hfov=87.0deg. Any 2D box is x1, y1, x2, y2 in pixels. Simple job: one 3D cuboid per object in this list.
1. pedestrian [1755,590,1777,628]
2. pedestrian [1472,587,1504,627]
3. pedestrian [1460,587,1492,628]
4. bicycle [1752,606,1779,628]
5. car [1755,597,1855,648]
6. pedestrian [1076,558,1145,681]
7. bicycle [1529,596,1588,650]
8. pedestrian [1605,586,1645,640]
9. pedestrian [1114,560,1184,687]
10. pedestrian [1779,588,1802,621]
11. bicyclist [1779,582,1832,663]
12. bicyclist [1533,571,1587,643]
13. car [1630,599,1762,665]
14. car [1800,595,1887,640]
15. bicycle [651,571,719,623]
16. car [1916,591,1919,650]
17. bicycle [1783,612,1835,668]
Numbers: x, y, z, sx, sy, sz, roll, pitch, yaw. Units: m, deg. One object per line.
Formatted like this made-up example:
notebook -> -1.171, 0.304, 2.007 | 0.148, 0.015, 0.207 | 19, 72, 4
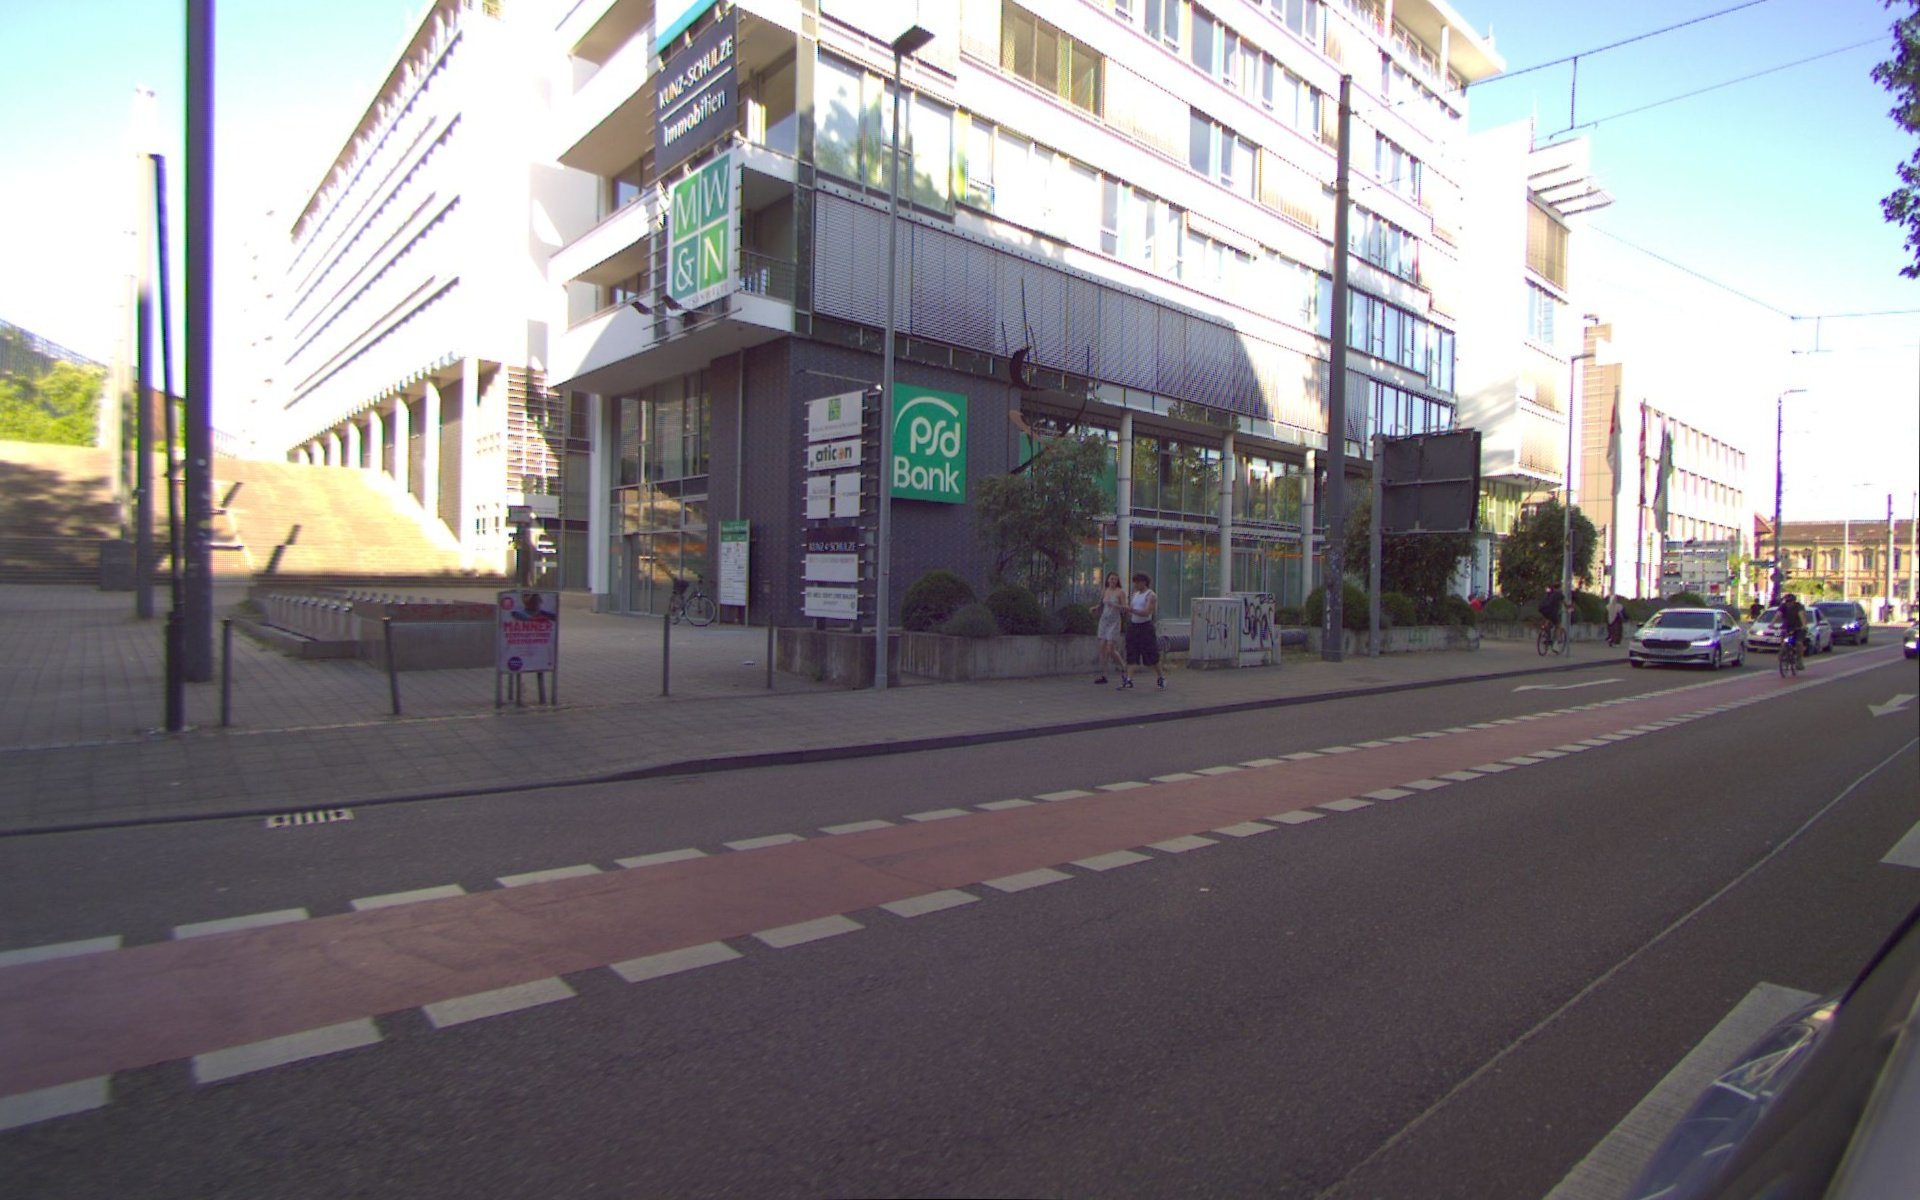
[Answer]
pedestrian -> 34.288, 0.375, 43.051 | 0.579, 1.601, 0.527 | 1, 3, -40
pedestrian -> 17.406, 0.224, 33.375 | 0.535, 1.288, 0.783 | 0, 1, -45
pedestrian -> 16.762, 0.229, 32.881 | 0.750, 1.288, 0.682 | 2, 1, 45
bicycle -> 34.371, 0.729, 43.153 | 1.870, 0.856, 0.499 | 0, 5, -41
car -> 26.907, 0.678, 32.192 | 3.798, 1.482, 1.672 | 0, 1, -38
pedestrian -> 2.326, 0.286, 15.627 | 0.880, 1.831, 0.591 | 0, 2, -41
bicycle -> 15.439, 0.581, 26.069 | 1.894, 1.291, 0.665 | 0, 4, -41
pedestrian -> 20.194, 0.377, 30.718 | 0.895, 1.594, 0.753 | 0, 1, -38
pedestrian -> 2.845, 0.334, 15.216 | 0.876, 1.831, 0.564 | 0, 2, -41
pedestrian -> 41.436, 0.207, 50.479 | 0.652, 1.601, 0.693 | 1, 3, -40
bicyclist -> 18.249, 0.471, 21.841 | 0.702, 1.709, 0.751 | 1, 1, -43
bicyclist -> 15.434, 0.170, 26.032 | 1.188, 1.783, 0.743 | 0, 4, -41
car -> 18.018, 0.722, 24.718 | 3.952, 1.437, 1.784 | 0, 2, -42
car -> 33.899, 0.633, 38.795 | 3.931, 1.616, 1.997 | 0, 1, -41
bicycle -> -6.186, -0.089, 22.725 | 0.688, 1.076, 1.878 | 0, 2, -42
car -> 29.018, 0.596, 29.091 | 3.951, 1.658, 1.785 | 0, 2, -41
bicycle -> 18.281, 0.837, 21.778 | 2.090, 1.135, 0.550 | 0, 1, -42
